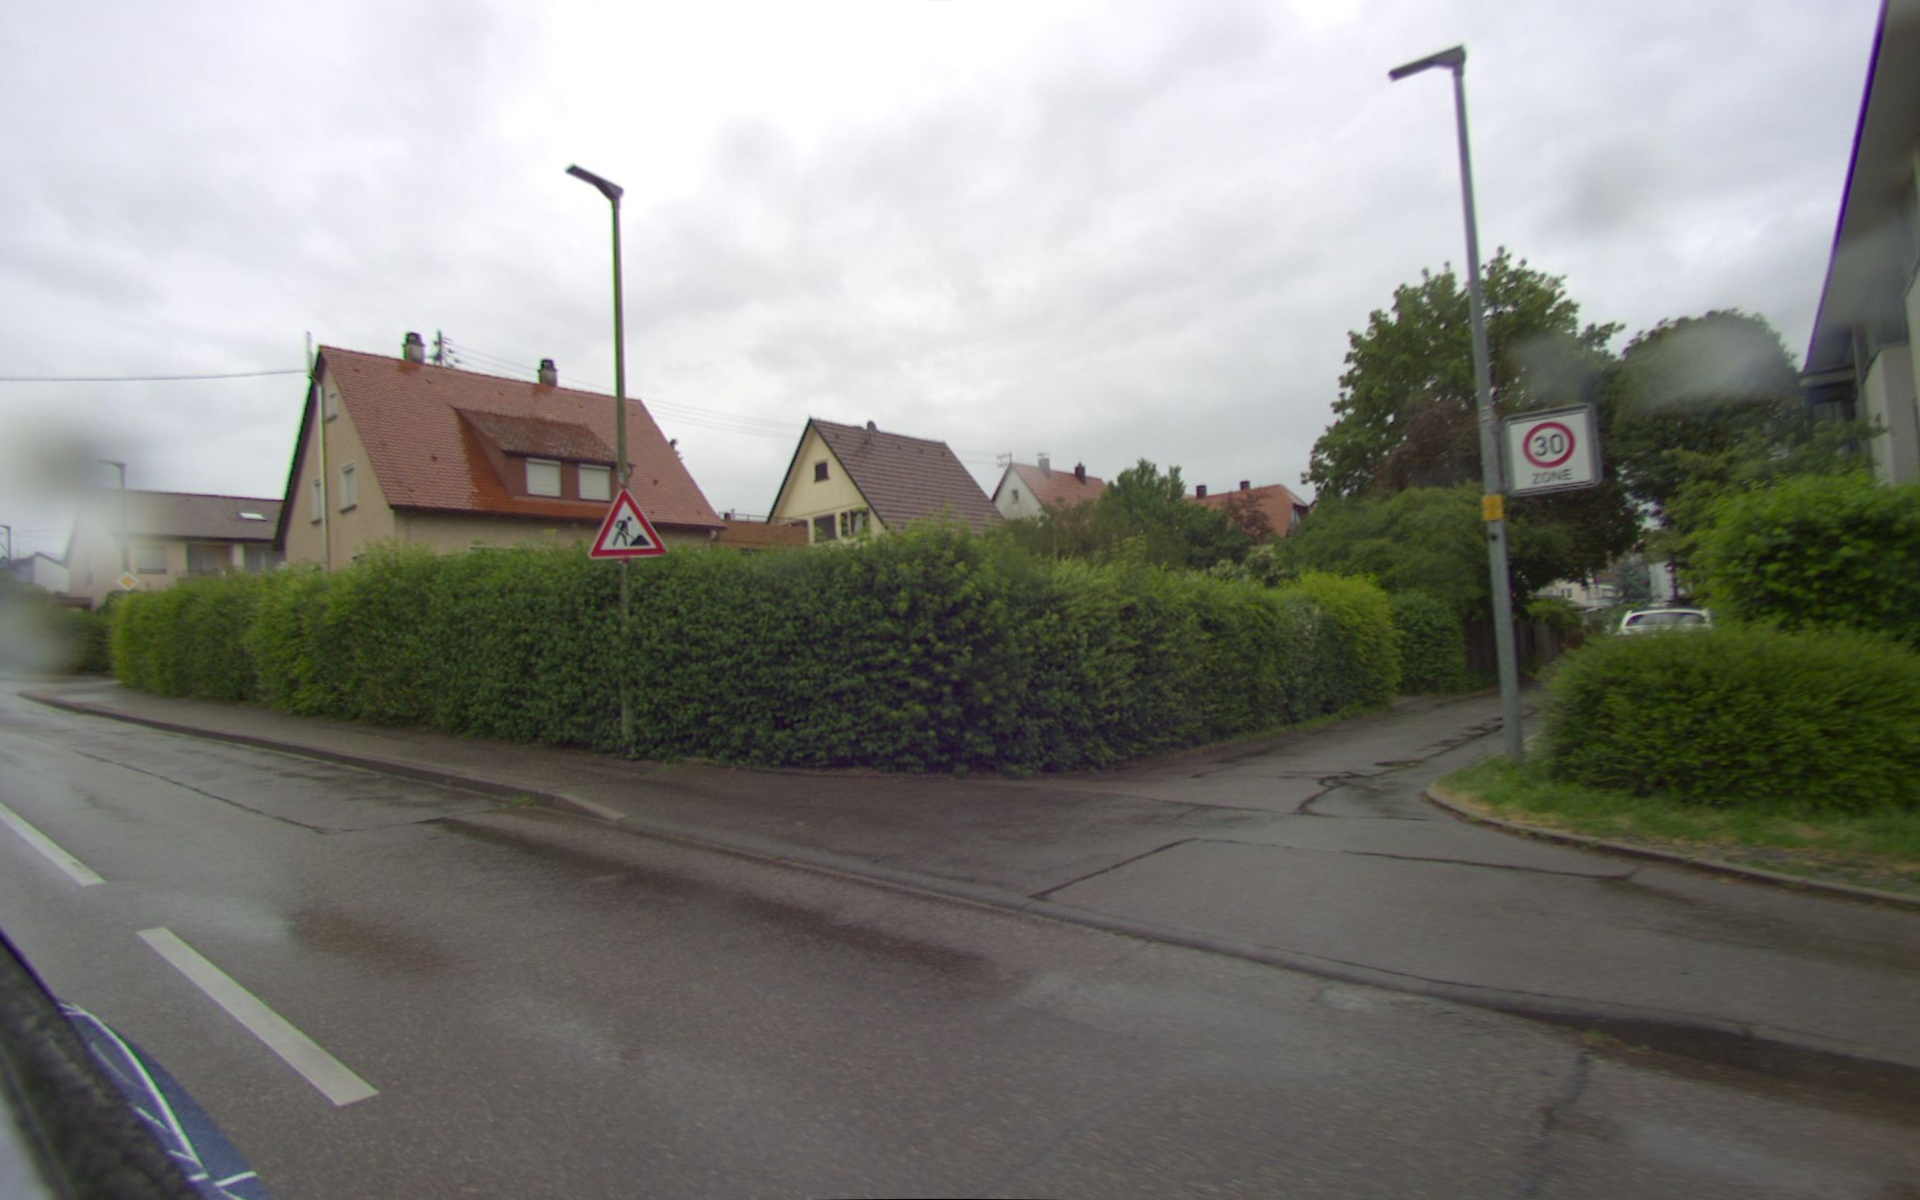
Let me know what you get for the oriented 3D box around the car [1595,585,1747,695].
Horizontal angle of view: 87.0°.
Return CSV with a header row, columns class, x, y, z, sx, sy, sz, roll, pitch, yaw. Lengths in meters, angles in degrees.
class,x,y,z,sx,sy,sz,roll,pitch,yaw
car,14.504,0.842,20.551,2.200,1.980,3.947,-3,-4,39
